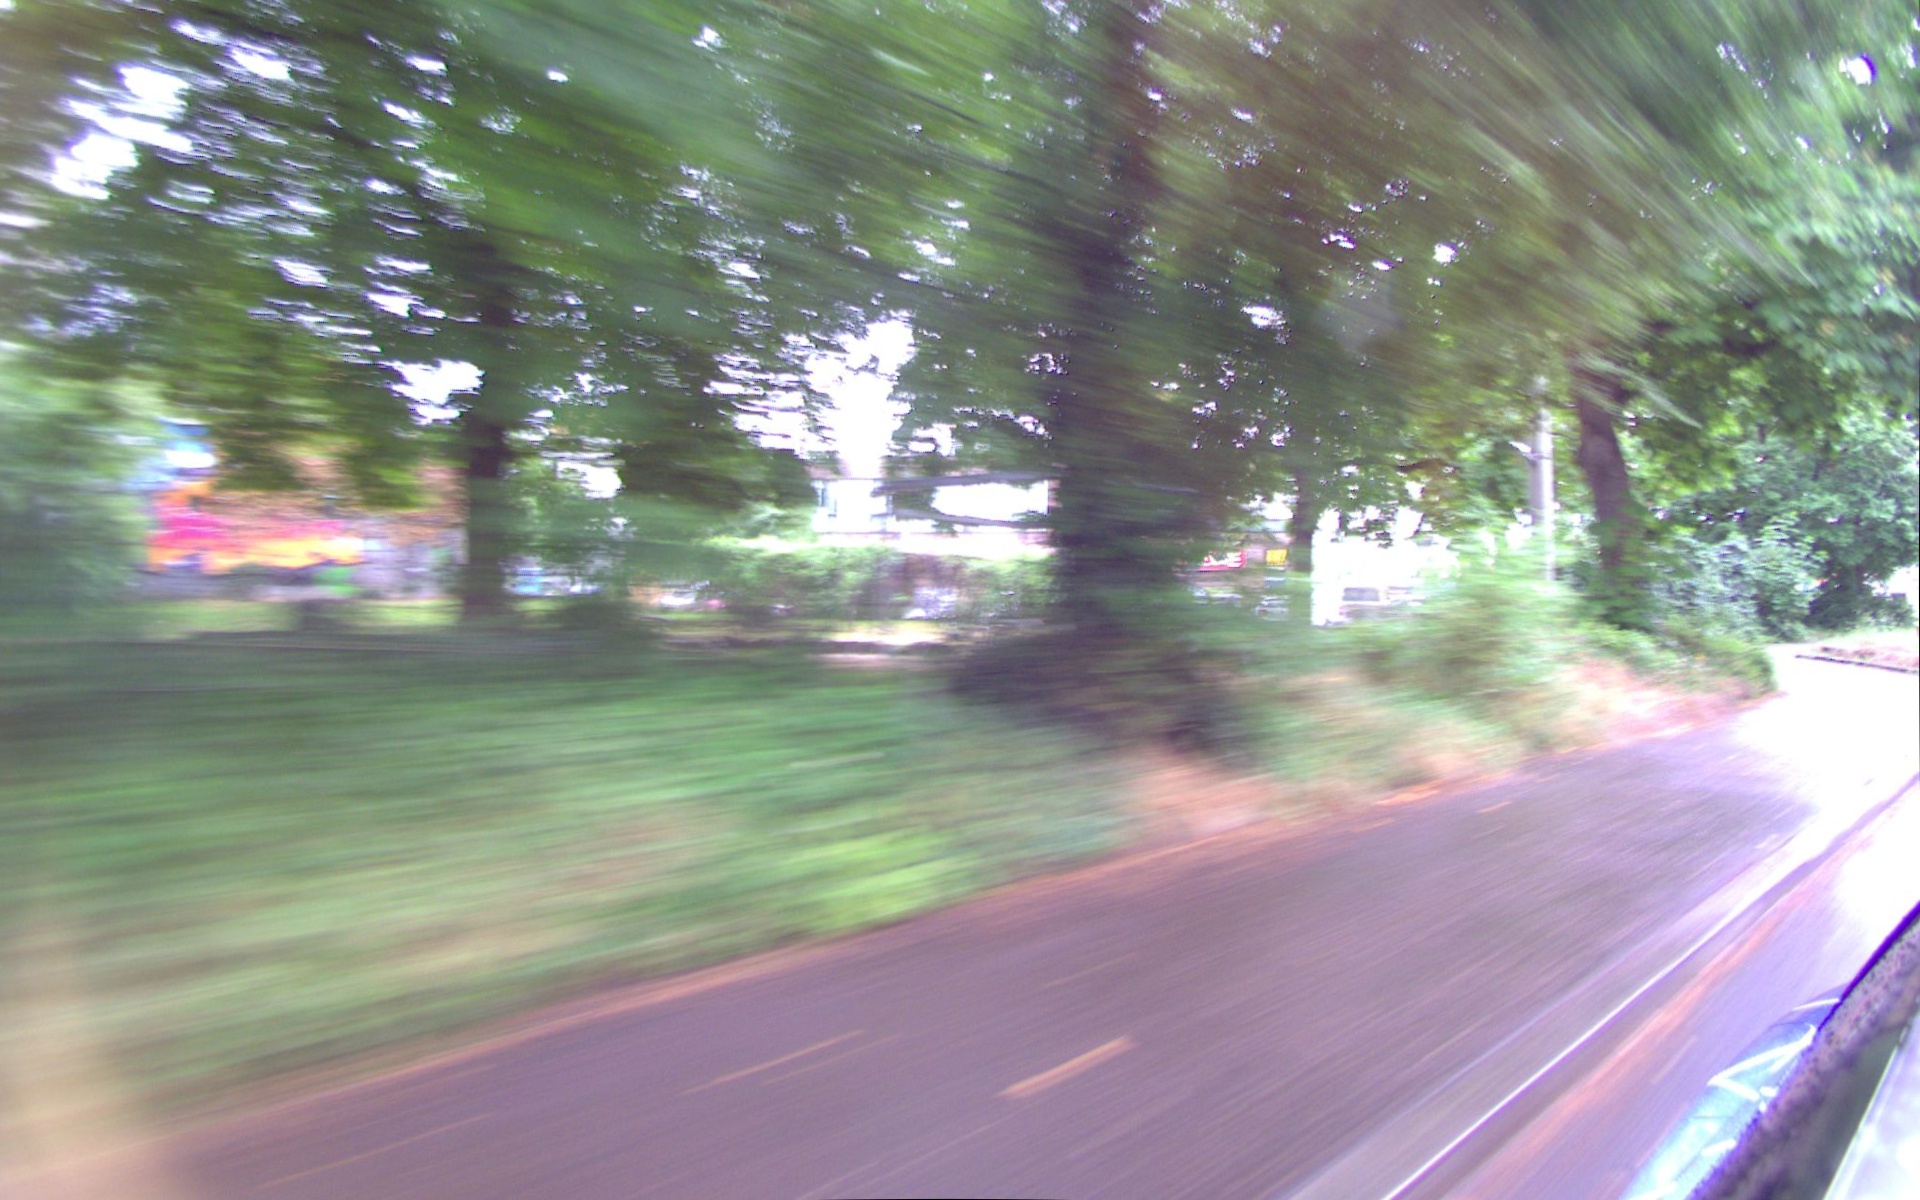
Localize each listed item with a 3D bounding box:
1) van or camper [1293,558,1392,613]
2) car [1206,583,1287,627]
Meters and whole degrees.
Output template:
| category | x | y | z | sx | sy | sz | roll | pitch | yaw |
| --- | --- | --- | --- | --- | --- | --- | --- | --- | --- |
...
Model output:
| category | x | y | z | sx | sy | sz | roll | pitch | yaw |
| --- | --- | --- | --- | --- | --- | --- | --- | --- | --- |
| van or camper | 13.902 | -0.543 | 37.112 | 1.964 | 1.857 | 5.176 | 0 | 1 | 4 |
| car | 10.318 | 0.170 | 36.720 | 1.963 | 1.483 | 3.997 | 0 | 0 | 3 |
